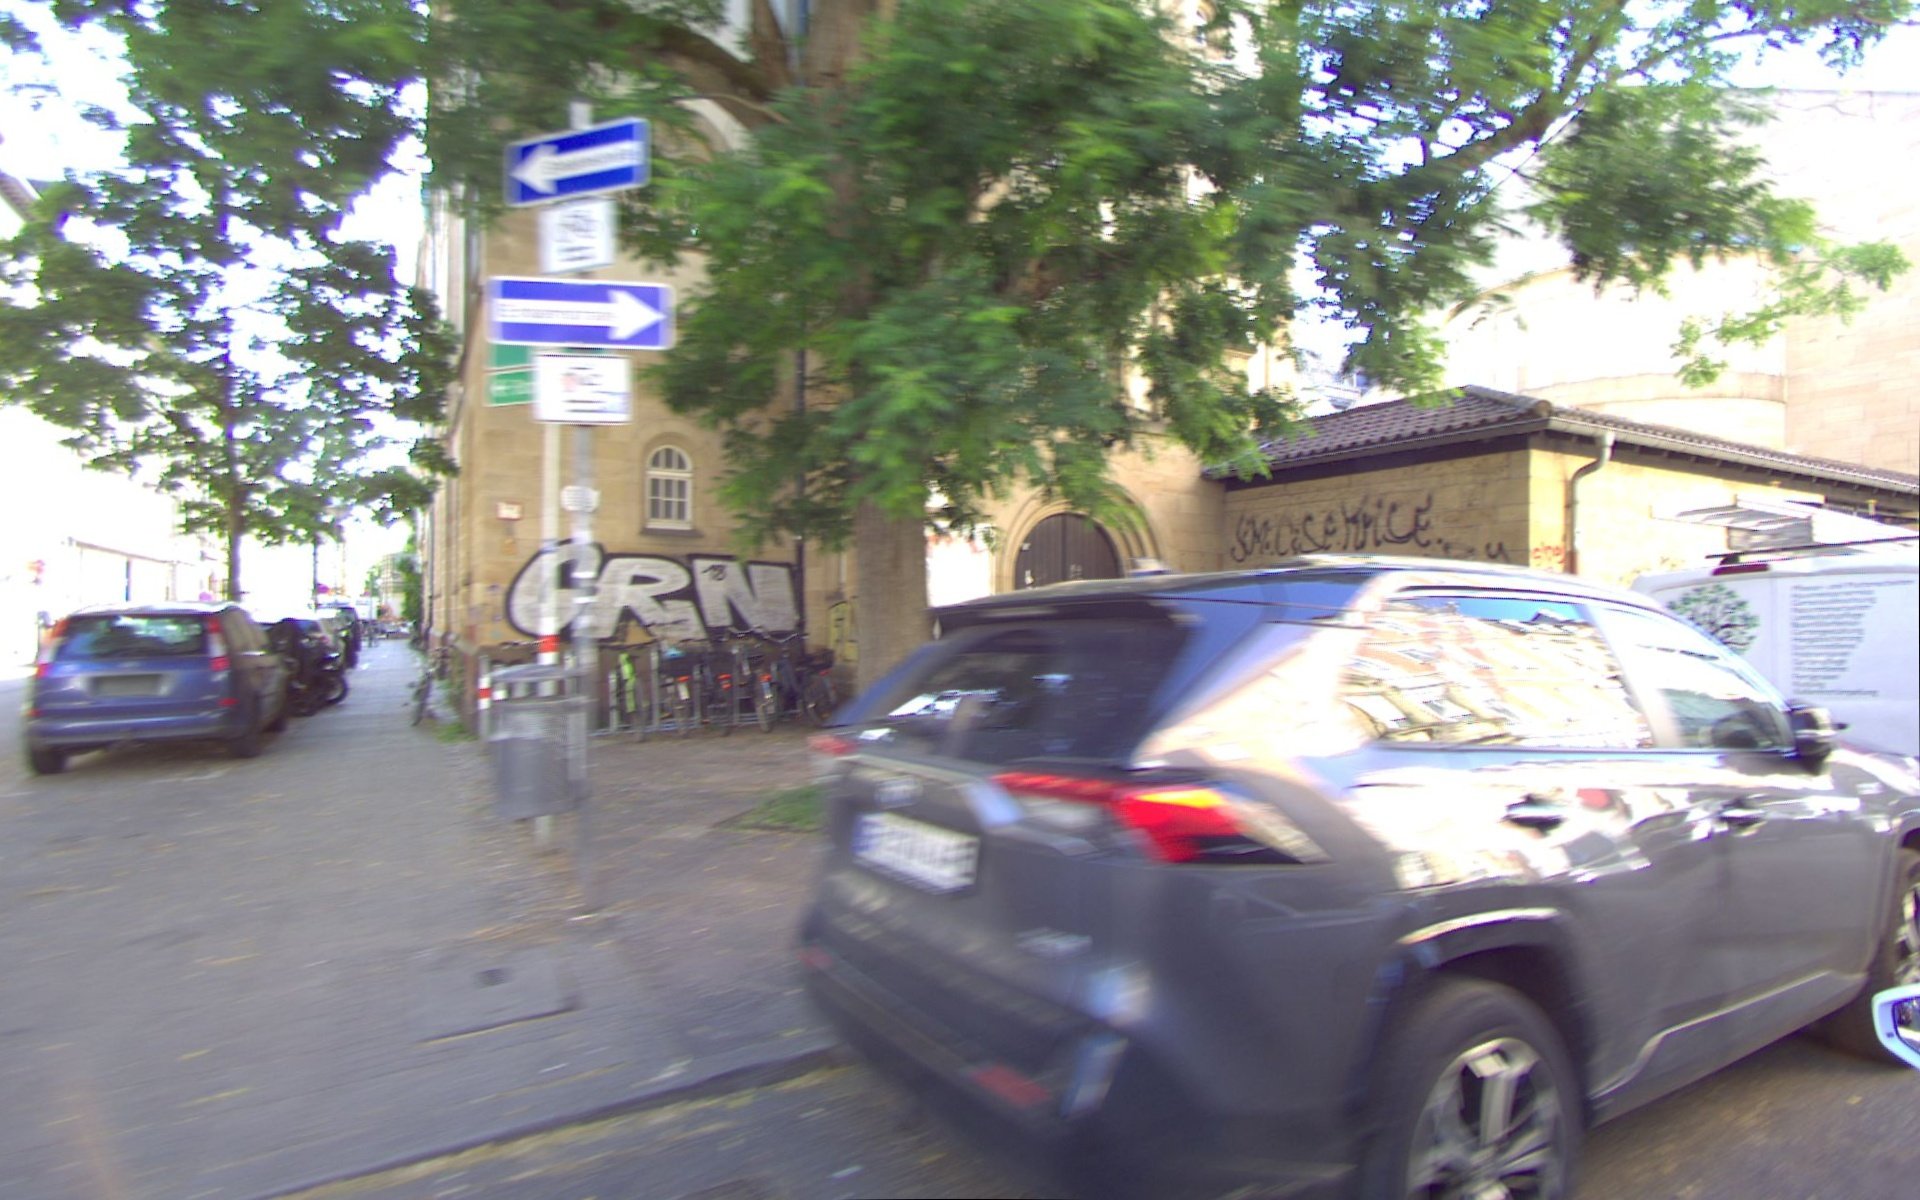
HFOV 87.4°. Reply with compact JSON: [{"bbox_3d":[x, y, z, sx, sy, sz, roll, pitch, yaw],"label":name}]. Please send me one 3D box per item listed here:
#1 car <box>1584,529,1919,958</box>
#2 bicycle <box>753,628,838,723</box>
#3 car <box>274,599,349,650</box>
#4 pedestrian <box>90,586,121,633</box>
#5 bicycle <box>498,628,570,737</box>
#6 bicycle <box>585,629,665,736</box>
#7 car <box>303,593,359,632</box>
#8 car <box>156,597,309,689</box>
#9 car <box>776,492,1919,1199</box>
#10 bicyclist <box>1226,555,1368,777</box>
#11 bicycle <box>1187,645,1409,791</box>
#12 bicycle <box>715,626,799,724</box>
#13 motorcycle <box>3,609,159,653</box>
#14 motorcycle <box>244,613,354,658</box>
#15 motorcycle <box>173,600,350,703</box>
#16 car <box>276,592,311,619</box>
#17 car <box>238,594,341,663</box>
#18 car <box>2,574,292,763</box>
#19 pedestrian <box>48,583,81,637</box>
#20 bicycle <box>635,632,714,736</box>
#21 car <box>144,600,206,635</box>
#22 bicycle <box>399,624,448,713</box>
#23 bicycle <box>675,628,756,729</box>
[{"bbox_3d":[5.912,0.655,5.969,4.410,1.887,1.838,1,0,-29],"label":"car"},{"bbox_3d":[-2.082,0.901,12.560,0.472,1.068,1.767,0,0,-30],"label":"bicycle"},{"bbox_3d":[-19.812,0.719,30.816,1.711,1.439,4.106,1,0,-30],"label":"car"},{"bbox_3d":[-30.011,0.345,35.289,0.703,1.588,0.718,1,3,-30],"label":"pedestrian"},{"bbox_3d":[-4.740,0.859,11.120,0.527,1.068,1.767,0,0,-30],"label":"bicycle"},{"bbox_3d":[-3.820,0.890,11.373,0.527,1.068,1.767,0,0,-30],"label":"bicycle"},{"bbox_3d":[-24.883,0.480,39.825,1.711,1.439,3.890,1,0,-30],"label":"car"},{"bbox_3d":[-12.923,0.681,18.079,1.775,1.439,4.244,1,0,-30],"label":"car"},{"bbox_3d":[1.692,0.701,3.434,4.241,1.668,1.731,1,-1,-32],"label":"car"},{"bbox_3d":[2.800,0.520,8.405,0.682,1.746,0.803,2,3,-21],"label":"bicyclist"},{"bbox_3d":[2.769,0.928,8.451,0.814,0.935,1.758,1,2,-21],"label":"bicycle"},{"bbox_3d":[-2.506,0.876,12.277,0.472,1.068,1.767,0,0,-30],"label":"bicycle"},{"bbox_3d":[-24.486,0.862,28.045,2.999,1.076,1.336,3,-1,-6],"label":"motorcycle"},{"bbox_3d":[-17.341,0.927,26.438,2.283,1.076,0.917,3,-2,-29],"label":"motorcycle"},{"bbox_3d":[-10.267,0.741,14.860,2.080,1.440,0.656,1,0,-31],"label":"motorcycle"},{"bbox_3d":[-55.263,0.437,83.354,2.029,2.132,4.605,1,1,-29],"label":"car"},{"bbox_3d":[-15.613,0.607,23.569,1.711,1.480,4.244,1,0,-30],"label":"car"},{"bbox_3d":[-8.427,0.566,10.803,1.749,1.620,3.968,-1,1,-29],"label":"car"},{"bbox_3d":[-30.393,0.330,34.096,0.703,1.782,0.718,1,3,-30],"label":"pedestrian"},{"bbox_3d":[-3.343,0.931,11.663,0.472,1.068,1.767,0,0,-30],"label":"bicycle"},{"bbox_3d":[-27.436,0.599,35.182,1.369,1.178,3.297,1,-1,-33],"label":"car"},{"bbox_3d":[-7.258,0.879,13.562,0.527,1.068,2.063,0,0,-30],"label":"bicycle"},{"bbox_3d":[-2.946,0.893,12.004,0.472,1.068,1.767,0,0,-30],"label":"bicycle"}]
